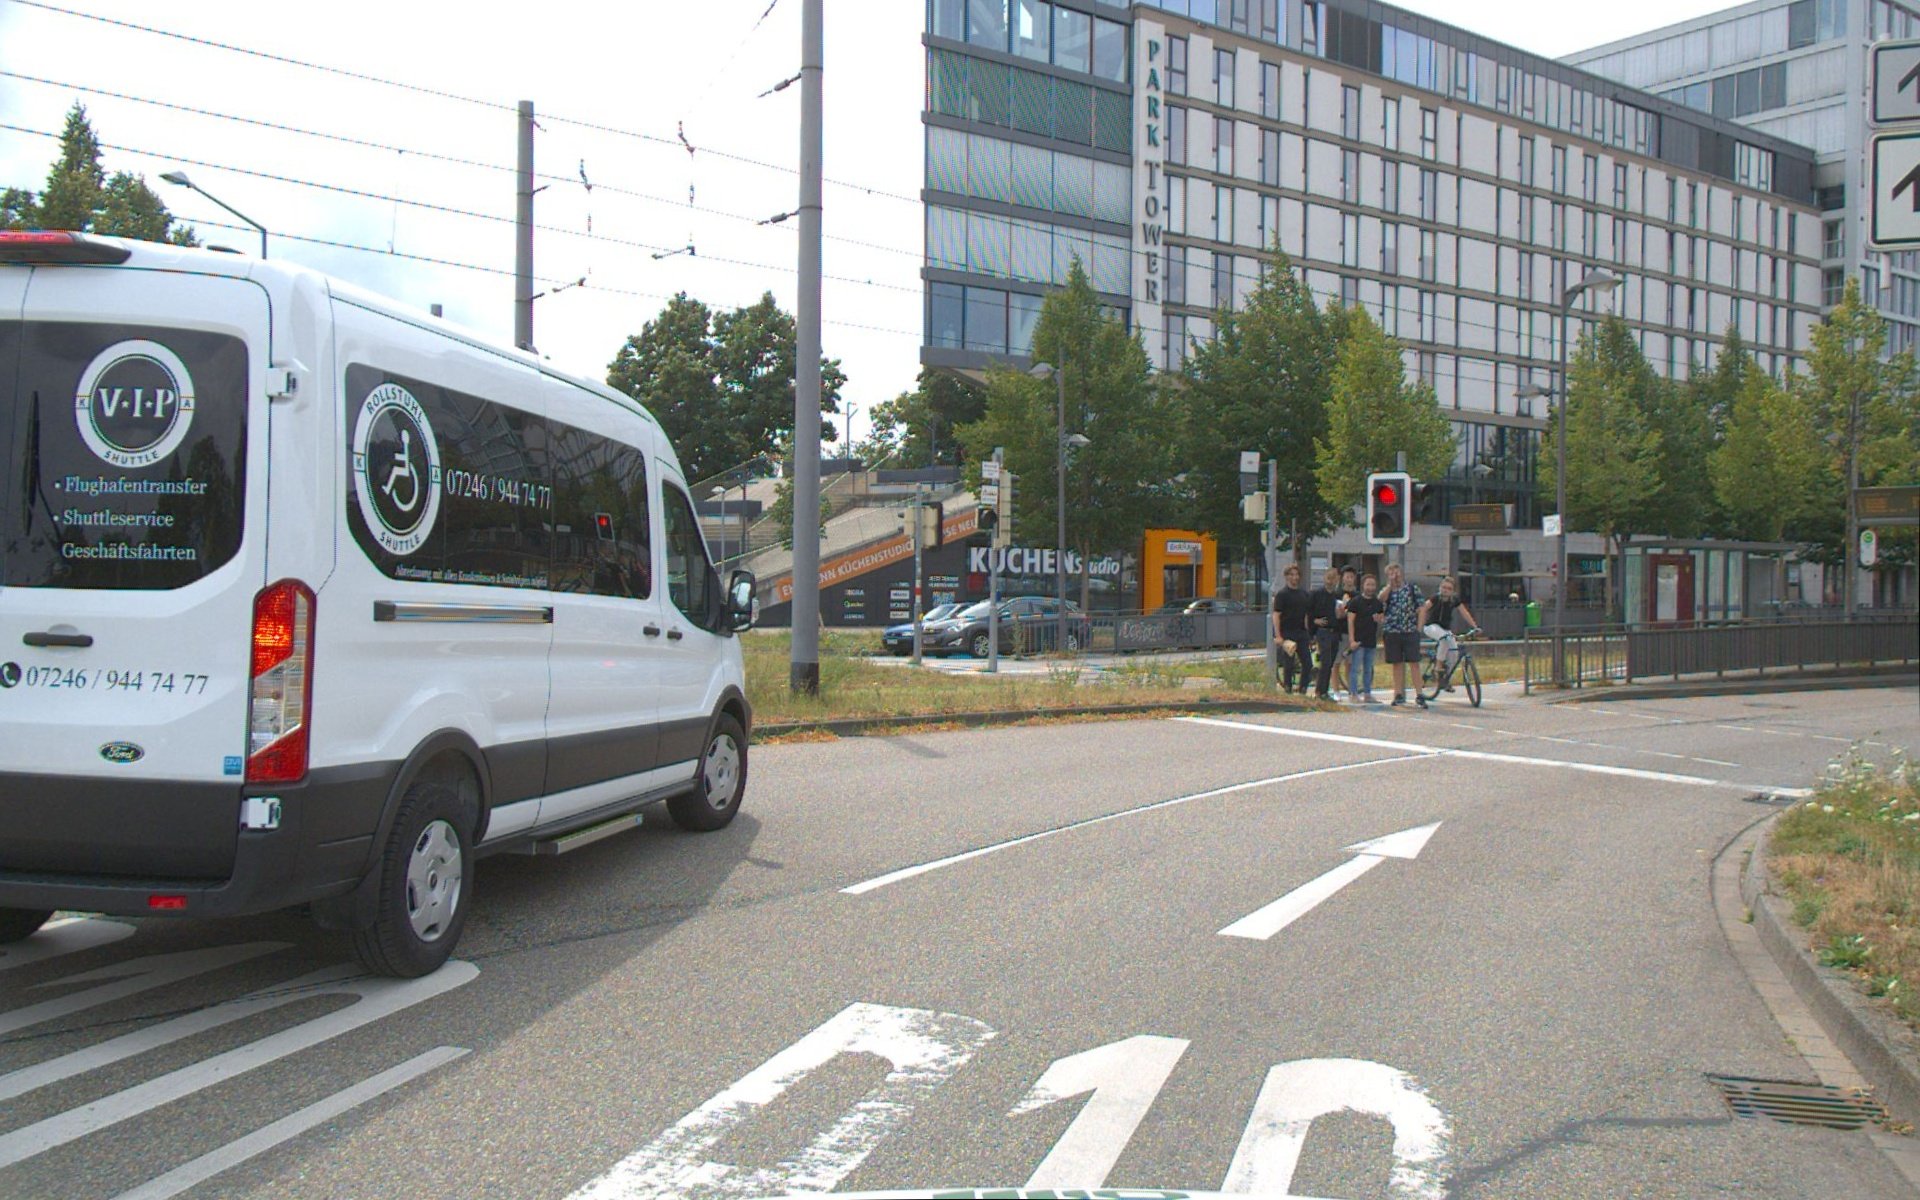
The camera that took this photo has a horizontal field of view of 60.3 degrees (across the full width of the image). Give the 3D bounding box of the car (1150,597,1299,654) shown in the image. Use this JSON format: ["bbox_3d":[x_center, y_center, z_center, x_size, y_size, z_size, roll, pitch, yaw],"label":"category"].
[{"bbox_3d":[7.365,0.681,45.986,3.953,1.483,1.826,0,1,-35],"label":"car"}]

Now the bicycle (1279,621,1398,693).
[{"bbox_3d":[5.888,0.873,25.804,1.727,1.024,0.649,2,1,45],"label":"bicycle"}]

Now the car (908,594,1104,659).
[{"bbox_3d":[1.176,0.642,40.743,4.684,1.483,1.826,0,1,-36],"label":"car"}]

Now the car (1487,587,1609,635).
[{"bbox_3d":[19.201,0.348,53.970,3.953,1.483,1.826,0,1,-35],"label":"car"}]

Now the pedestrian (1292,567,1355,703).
[{"bbox_3d":[4.947,0.467,22.510,0.628,1.812,0.545,1,0,-42],"label":"pedestrian"}]

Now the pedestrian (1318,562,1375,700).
[{"bbox_3d":[5.371,0.422,22.986,0.526,1.894,0.545,1,0,-42],"label":"pedestrian"}]

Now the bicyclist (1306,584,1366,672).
[{"bbox_3d":[5.872,0.430,25.833,0.663,1.340,0.636,1,1,43],"label":"bicyclist"}]

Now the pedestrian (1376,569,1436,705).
[{"bbox_3d":[6.076,0.497,22.546,0.575,1.812,0.545,1,0,-42],"label":"pedestrian"}]

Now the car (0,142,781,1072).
[{"bbox_3d":[-2.584,-0.009,7.819,2.081,2.744,5.636,0,0,8],"label":"car"}]

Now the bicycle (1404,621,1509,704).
[{"bbox_3d":[7.011,0.866,23.415,0.538,1.077,1.704,1,1,-18],"label":"bicycle"}]

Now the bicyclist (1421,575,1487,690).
[{"bbox_3d":[7.006,0.448,23.468,0.550,1.608,0.761,1,0,-18],"label":"bicyclist"}]

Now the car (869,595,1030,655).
[{"bbox_3d":[-0.261,0.642,43.973,3.954,1.483,1.826,0,1,-36],"label":"car"}]

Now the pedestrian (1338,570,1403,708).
[{"bbox_3d":[5.502,0.507,22.172,0.684,1.812,0.544,1,0,-42],"label":"pedestrian"}]

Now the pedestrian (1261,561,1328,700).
[{"bbox_3d":[4.426,0.393,21.894,0.684,1.812,0.544,1,0,-42],"label":"pedestrian"}]
